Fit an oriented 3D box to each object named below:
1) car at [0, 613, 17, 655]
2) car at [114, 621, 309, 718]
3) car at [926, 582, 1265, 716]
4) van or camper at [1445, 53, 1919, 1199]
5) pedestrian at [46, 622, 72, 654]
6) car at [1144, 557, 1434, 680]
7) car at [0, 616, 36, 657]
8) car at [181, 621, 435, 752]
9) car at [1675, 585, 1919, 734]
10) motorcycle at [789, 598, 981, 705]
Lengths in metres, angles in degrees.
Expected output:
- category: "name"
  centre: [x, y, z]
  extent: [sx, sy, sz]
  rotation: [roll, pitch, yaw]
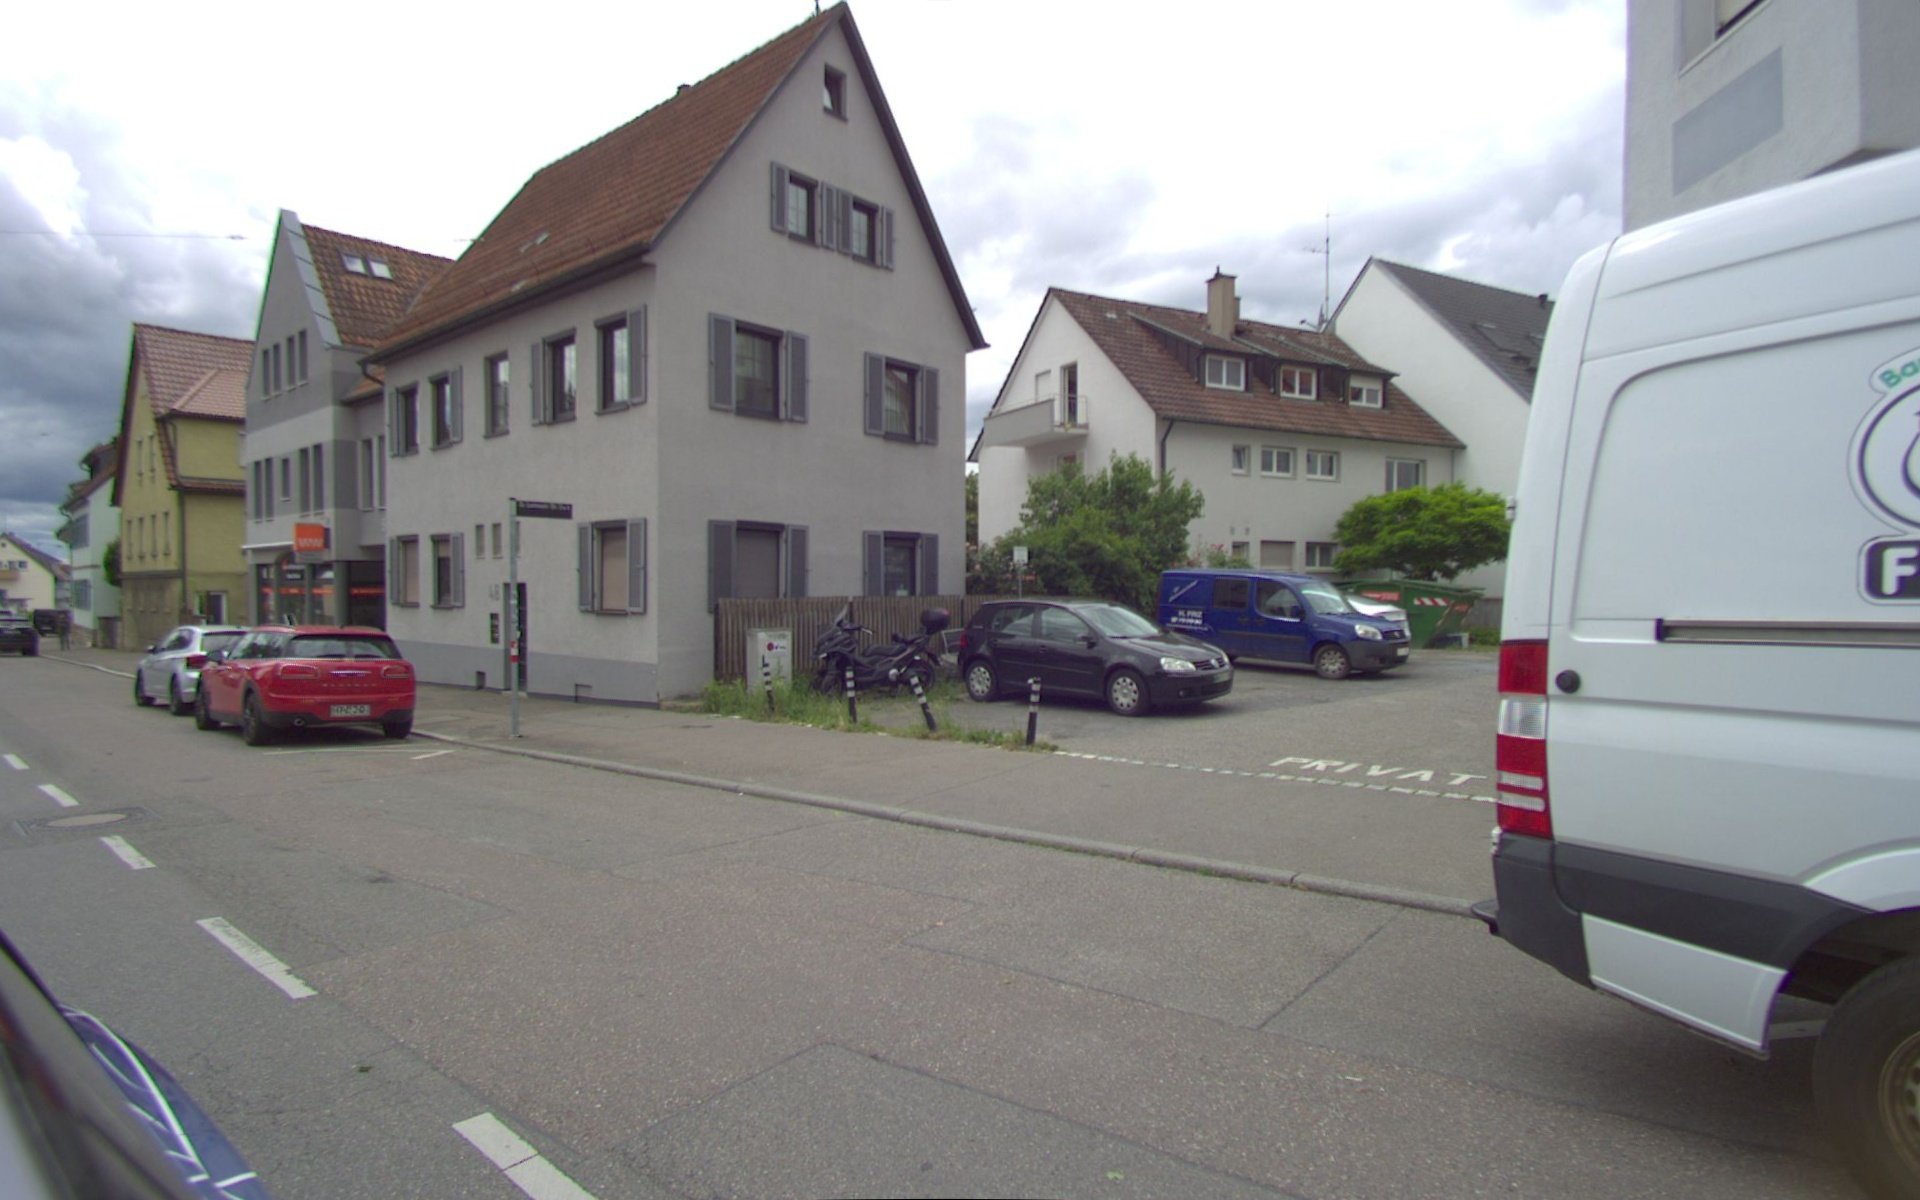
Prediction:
- category: "car"
  centre: [-43.836, 1.520, 45.192]
  extent: [4.350, 1.863, 2.084]
  rotation: [-2, -1, 41]
- category: "car"
  centre: [-13.064, 1.132, 17.568]
  extent: [4.349, 1.485, 1.759]
  rotation: [-1, -3, 40]
- category: "car"
  centre: [1.799, 0.618, 14.360]
  extent: [4.415, 1.563, 1.972]
  rotation: [-2, 1, 43]
- category: "van or camper"
  centre: [4.220, 0.073, 1.201]
  extent: [2.288, 2.627, 6.223]
  rotation: [0, -1, -35]
- category: "pedestrian"
  centre: [-40.137, 1.671, 45.102]
  extent: [0.551, 1.386, 0.821]
  rotation: [-1, -1, 42]
- category: "car"
  centre: [5.743, 0.331, 18.131]
  extent: [1.813, 1.923, 4.626]
  rotation: [0, -1, -43]
- category: "car"
  centre: [-38.847, 1.469, 40.966]
  extent: [4.350, 1.580, 1.696]
  rotation: [-1, -1, 41]
- category: "car"
  centre: [-8.889, 1.061, 13.642]
  extent: [4.352, 1.485, 1.838]
  rotation: [-2, -3, 43]
- category: "car"
  centre: [9.792, 0.560, 11.004]
  extent: [3.931, 1.363, 1.728]
  rotation: [0, -1, -29]
- category: "motorcycle"
  centre: [-1.087, 0.723, 15.173]
  extent: [2.786, 1.485, 0.839]
  rotation: [0, -1, -32]
